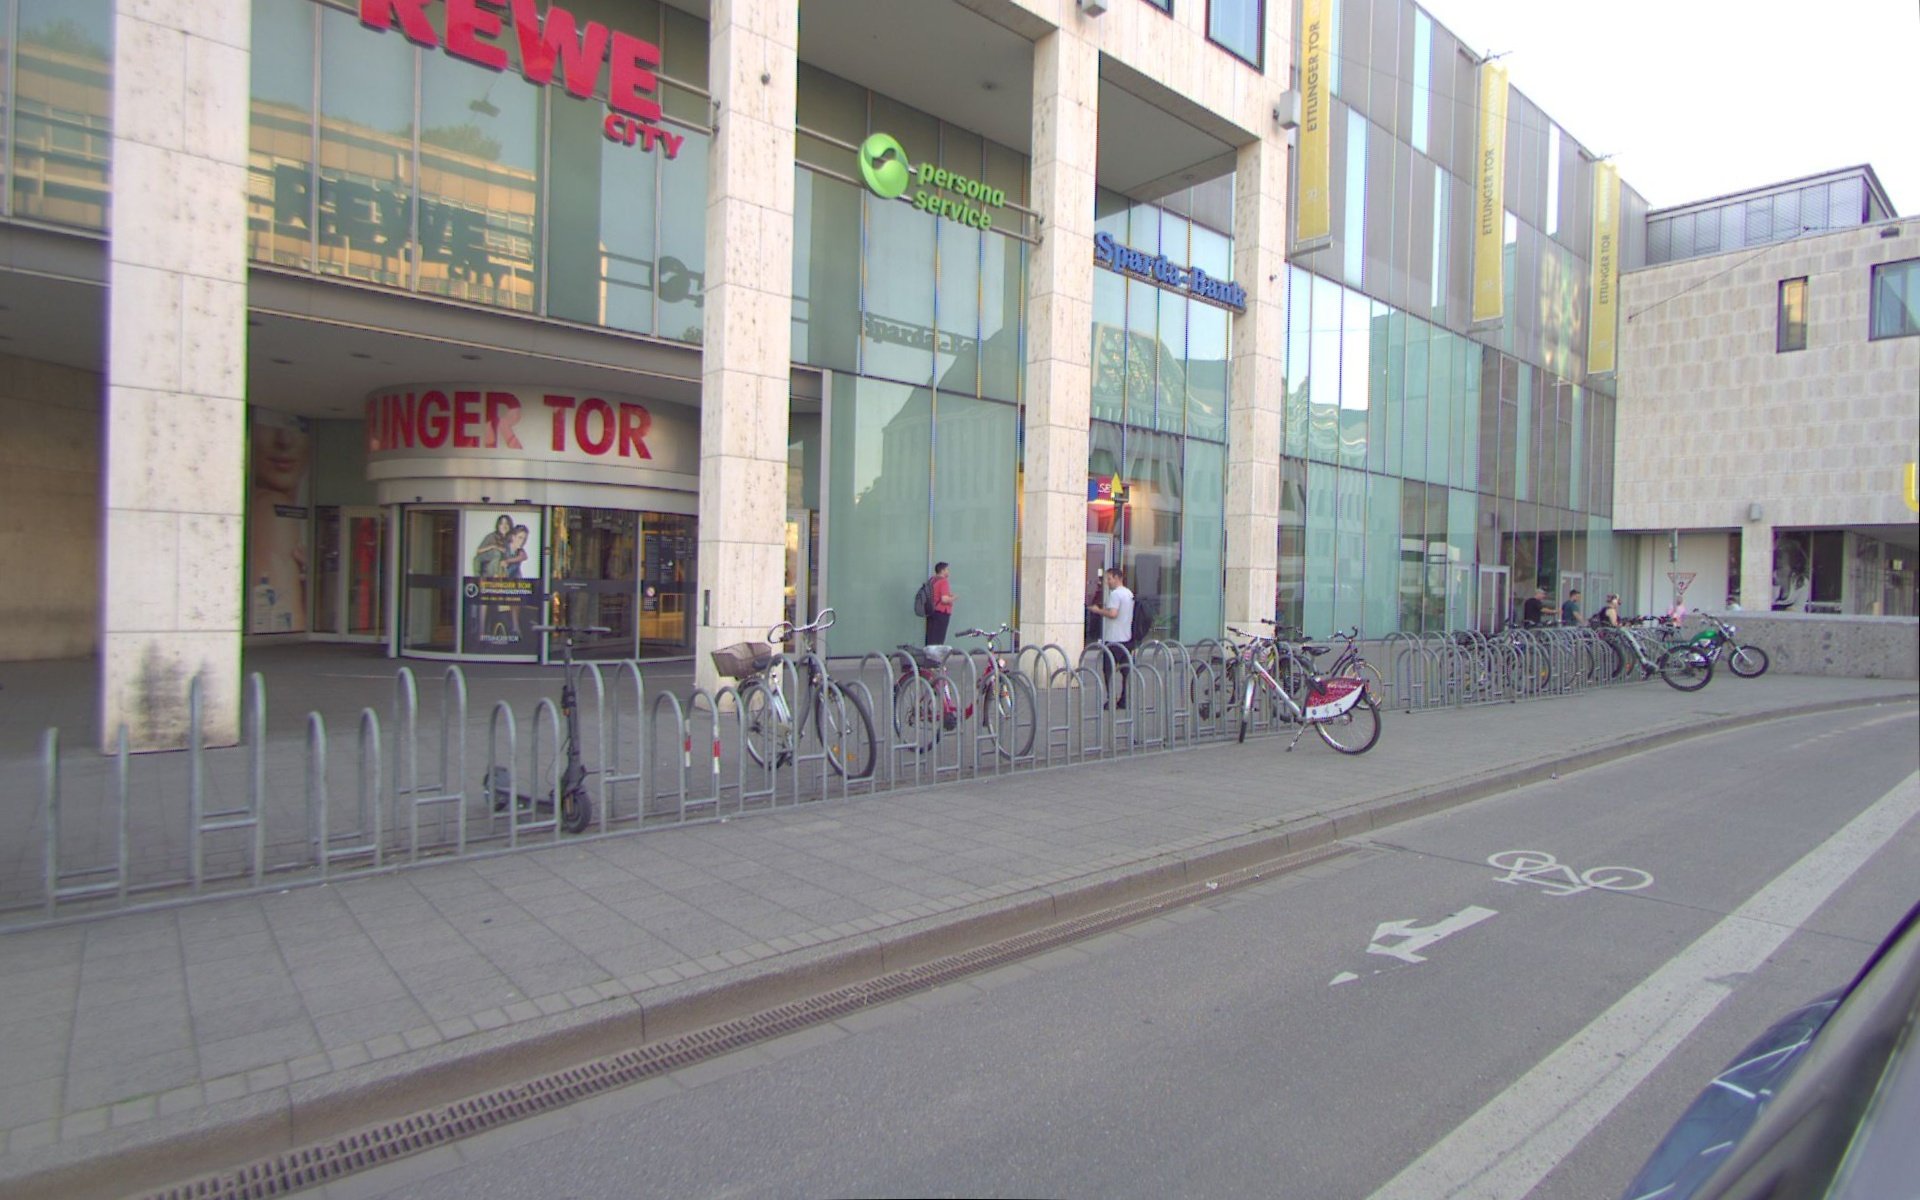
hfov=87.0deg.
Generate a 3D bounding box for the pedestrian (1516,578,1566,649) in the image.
[{"bbox_3d":[14.002,0.326,24.395,0.804,1.668,0.741,1,1,-33],"label":"pedestrian"}]

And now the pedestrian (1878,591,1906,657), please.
[{"bbox_3d":[25.592,0.652,27.788,0.483,1.765,0.455,1,1,-38],"label":"pedestrian"}]

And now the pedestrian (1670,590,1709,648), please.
[{"bbox_3d":[22.618,0.586,31.374,0.644,1.765,0.794,1,1,-38],"label":"pedestrian"}]

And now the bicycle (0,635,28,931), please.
[{"bbox_3d":[-4.551,0.731,4.479,1.768,1.092,0.475,3,1,43],"label":"bicycle"}]

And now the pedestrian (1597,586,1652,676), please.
[{"bbox_3d":[12.769,0.579,19.473,0.802,1.663,0.640,2,1,31],"label":"pedestrian"}]

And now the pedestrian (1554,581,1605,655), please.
[{"bbox_3d":[14.591,0.414,23.841,0.804,1.717,0.699,1,1,-34],"label":"pedestrian"}]

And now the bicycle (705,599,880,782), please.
[{"bbox_3d":[-1.303,0.625,7.668,0.607,1.243,1.517,1,-2,-41],"label":"bicycle"}]

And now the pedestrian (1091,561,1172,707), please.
[{"bbox_3d":[2.079,0.390,12.291,0.618,1.713,0.707,1,1,-38],"label":"pedestrian"}]

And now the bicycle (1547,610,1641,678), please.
[{"bbox_3d":[11.398,0.769,18.221,0.509,1.179,1.344,1,-2,-41],"label":"bicycle"}]

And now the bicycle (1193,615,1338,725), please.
[{"bbox_3d":[3.382,0.741,11.312,0.569,1.138,1.519,1,-2,-36],"label":"bicycle"}]

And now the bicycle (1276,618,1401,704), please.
[{"bbox_3d":[5.016,0.780,13.451,1.439,1.078,0.572,-1,-2,39],"label":"bicycle"}]

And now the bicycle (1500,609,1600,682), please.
[{"bbox_3d":[9.835,0.737,16.897,0.509,1.179,1.344,1,-2,-41],"label":"bicycle"}]

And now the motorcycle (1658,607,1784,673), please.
[{"bbox_3d":[15.583,0.790,20.767,0.472,1.239,2.004,1,1,-43],"label":"motorcycle"}]

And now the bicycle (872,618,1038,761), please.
[{"bbox_3d":[-0.071,0.713,8.671,0.543,1.120,1.516,1,-2,-43],"label":"bicycle"}]

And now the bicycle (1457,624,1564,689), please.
[{"bbox_3d":[8.459,0.854,15.587,0.509,0.944,1.344,1,-2,-41],"label":"bicycle"}]

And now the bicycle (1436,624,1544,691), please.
[{"bbox_3d":[7.949,0.842,15.208,0.509,0.944,1.344,1,-2,-41],"label":"bicycle"}]

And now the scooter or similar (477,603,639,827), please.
[{"bbox_3d":[-2.515,0.650,6.277,0.484,1.214,1.194,1,1,-44],"label":"scooter or similar"}]

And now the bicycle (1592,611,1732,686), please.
[{"bbox_3d":[11.570,0.774,16.746,0.458,1.161,1.837,1,-2,-39],"label":"bicycle"}]

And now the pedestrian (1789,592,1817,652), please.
[{"bbox_3d":[25.255,0.659,30.320,0.483,1.765,0.504,1,1,-38],"label":"pedestrian"}]

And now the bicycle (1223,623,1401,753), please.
[{"bbox_3d":[3.174,0.759,9.249,0.458,1.077,1.518,1,-2,-39],"label":"bicycle"}]

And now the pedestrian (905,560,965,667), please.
[{"bbox_3d":[-0.401,0.210,16.246,0.695,1.672,0.629,1,1,-40],"label":"pedestrian"}]

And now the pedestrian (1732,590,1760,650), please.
[{"bbox_3d":[23.619,0.590,30.406,0.644,1.765,0.494,1,1,-38],"label":"pedestrian"}]
